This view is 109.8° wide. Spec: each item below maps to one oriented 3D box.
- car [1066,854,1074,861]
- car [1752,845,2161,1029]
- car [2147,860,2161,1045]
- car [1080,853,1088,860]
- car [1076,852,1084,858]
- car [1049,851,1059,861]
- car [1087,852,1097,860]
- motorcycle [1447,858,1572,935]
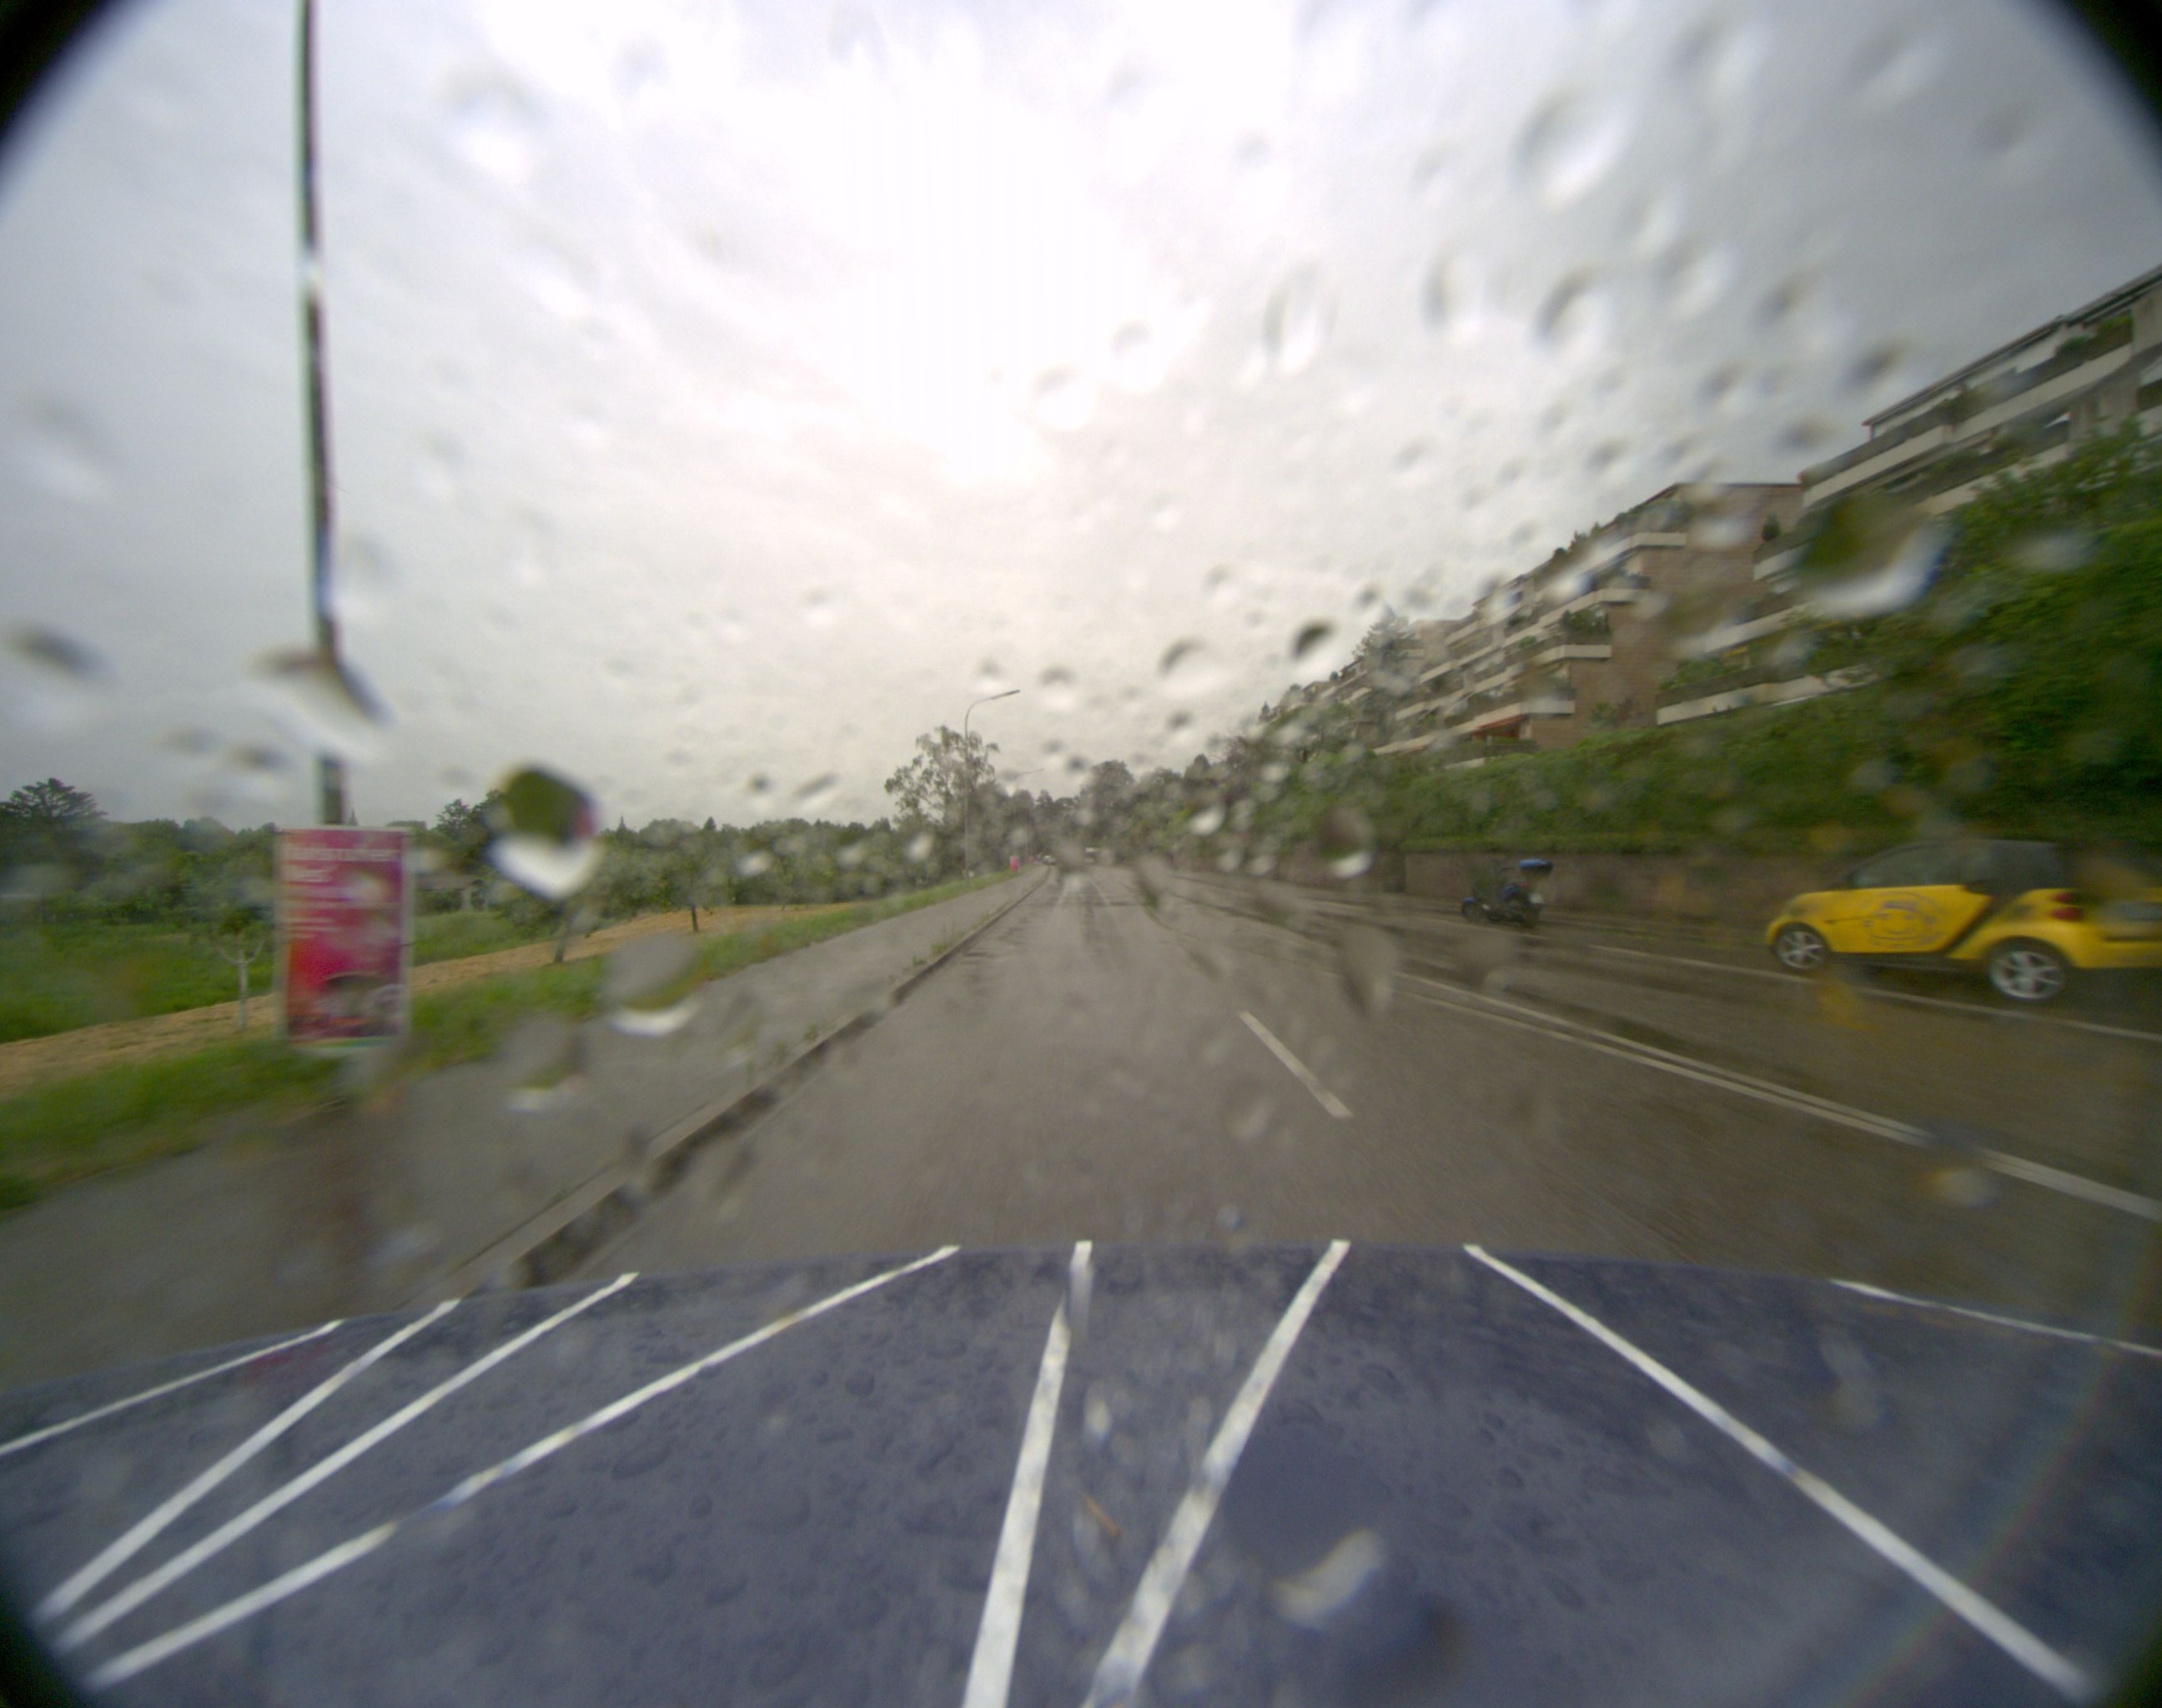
[{"bbox_3d":[-2.687,0.841,185.471,1.597,1.433,3.703,1,0,-3],"label":"car"},{"bbox_3d":[8.996,0.682,7.847,1.438,1.528,2.817,-1,1,-9],"label":"car"},{"bbox_3d":[9.148,0.763,3.897,1.437,1.411,4.101,-1,1,-5],"label":"car"},{"bbox_3d":[0.725,0.659,180.734,1.853,1.583,3.704,-2,0,-3],"label":"car"},{"bbox_3d":[-0.291,0.228,198.314,1.853,1.583,3.704,-2,0,-3],"label":"car"},{"bbox_3d":[-5.375,0.483,153.640,1.999,2.001,4.000,-1,-1,-2],"label":"car"},{"bbox_3d":[2.416,0.416,162.752,1.853,1.583,3.704,-2,0,-3],"label":"car"},{"bbox_3d":[8.330,0.771,14.955,0.840,1.333,2.497,-1,1,-7],"label":"motorcycle"}]
